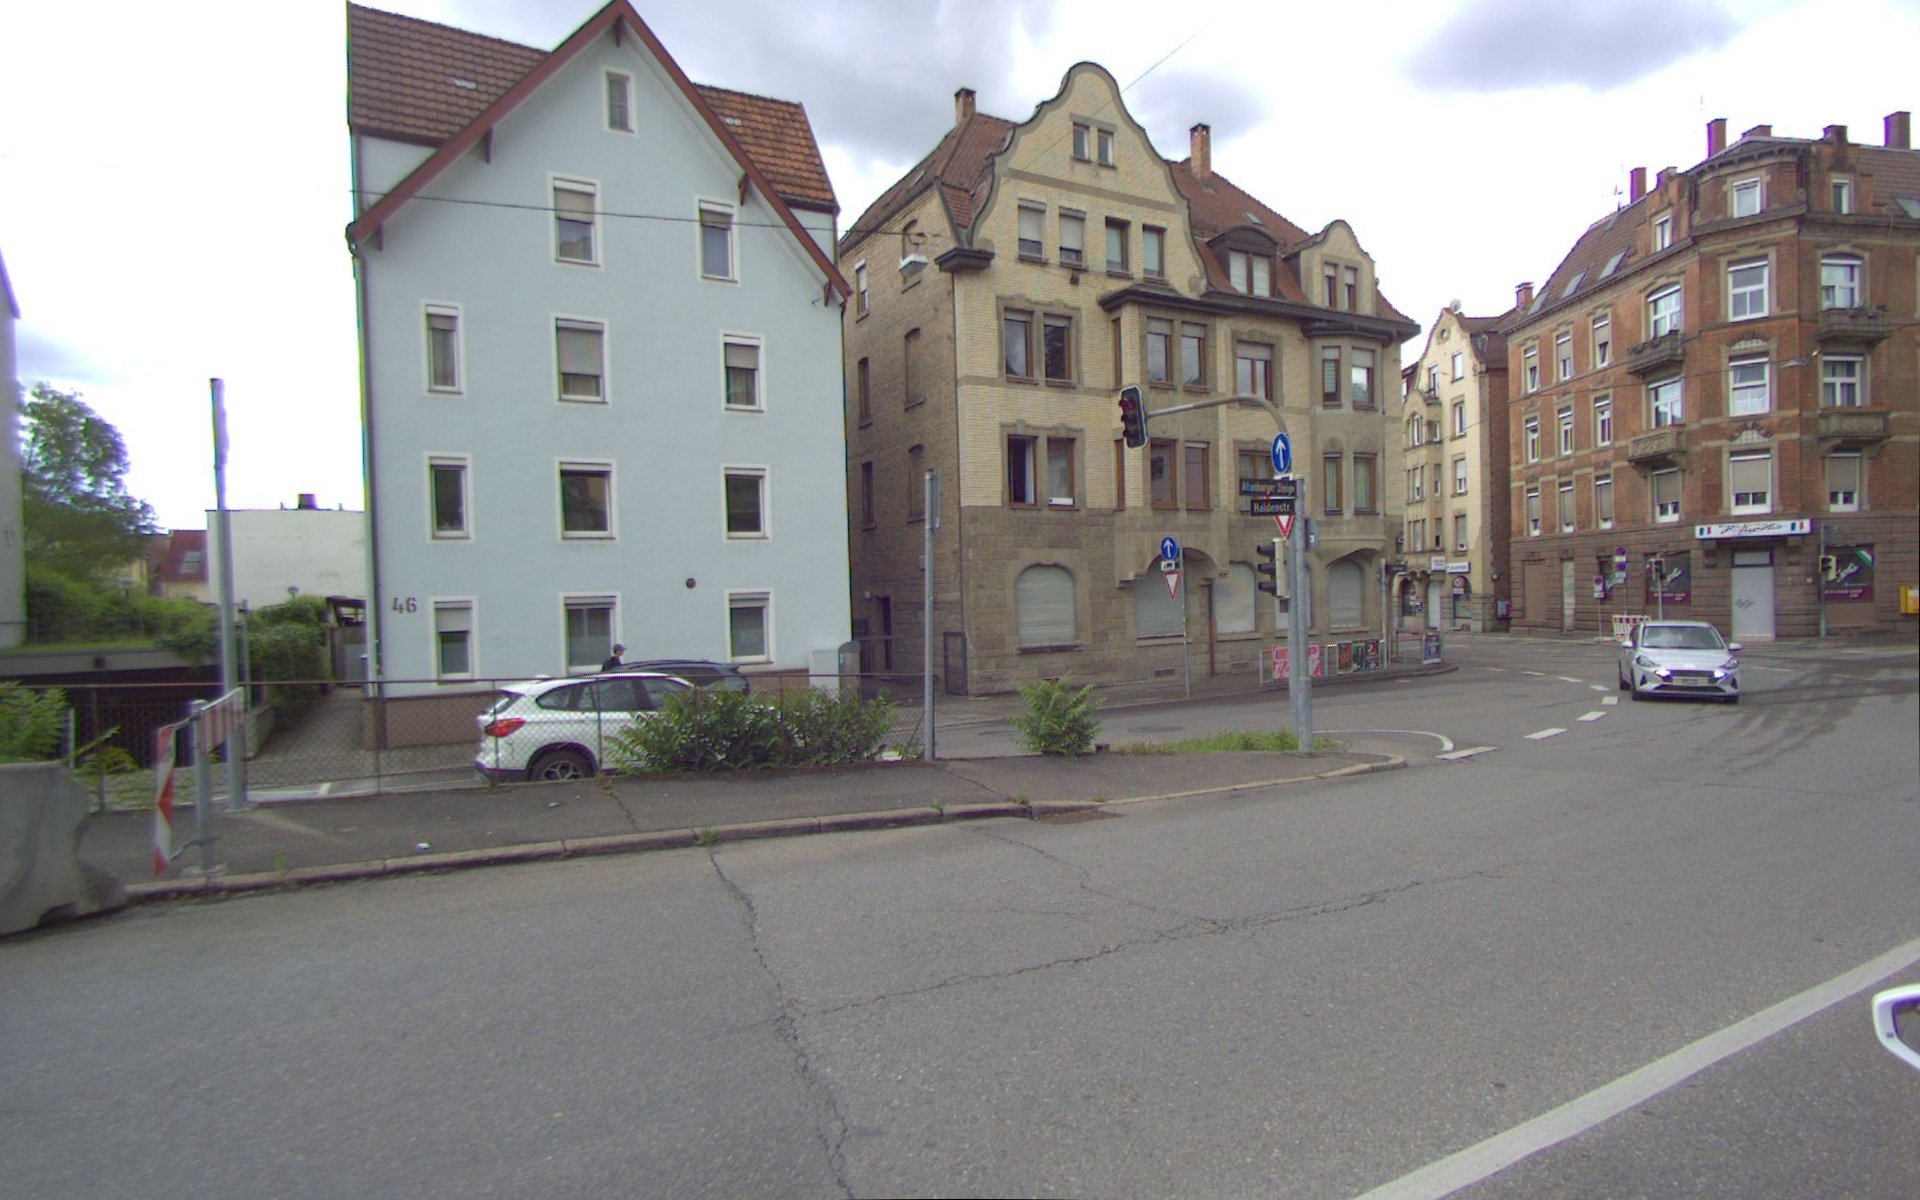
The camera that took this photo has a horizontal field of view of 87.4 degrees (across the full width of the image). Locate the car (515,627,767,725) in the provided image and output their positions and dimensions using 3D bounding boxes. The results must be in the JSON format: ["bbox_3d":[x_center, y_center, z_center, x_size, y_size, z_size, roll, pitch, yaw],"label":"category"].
[{"bbox_3d":[-5.834,1.315,18.521,4.184,1.576,1.674,1,0,-31],"label":"car"}]

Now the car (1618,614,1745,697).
[{"bbox_3d":[14.245,1.062,20.012,1.645,1.487,3.637,-2,-2,30],"label":"car"}]

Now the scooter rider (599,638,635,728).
[{"bbox_3d":[-6.880,1.651,20.141,0.570,1.728,0.485,-2,0,-30],"label":"scooter rider"}]

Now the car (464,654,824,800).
[{"bbox_3d":[-4.220,1.581,13.591,4.371,1.534,1.819,1,0,-30],"label":"car"}]

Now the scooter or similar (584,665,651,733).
[{"bbox_3d":[-6.866,1.962,20.151,1.212,1.258,0.376,-1,0,-30],"label":"scooter or similar"}]
